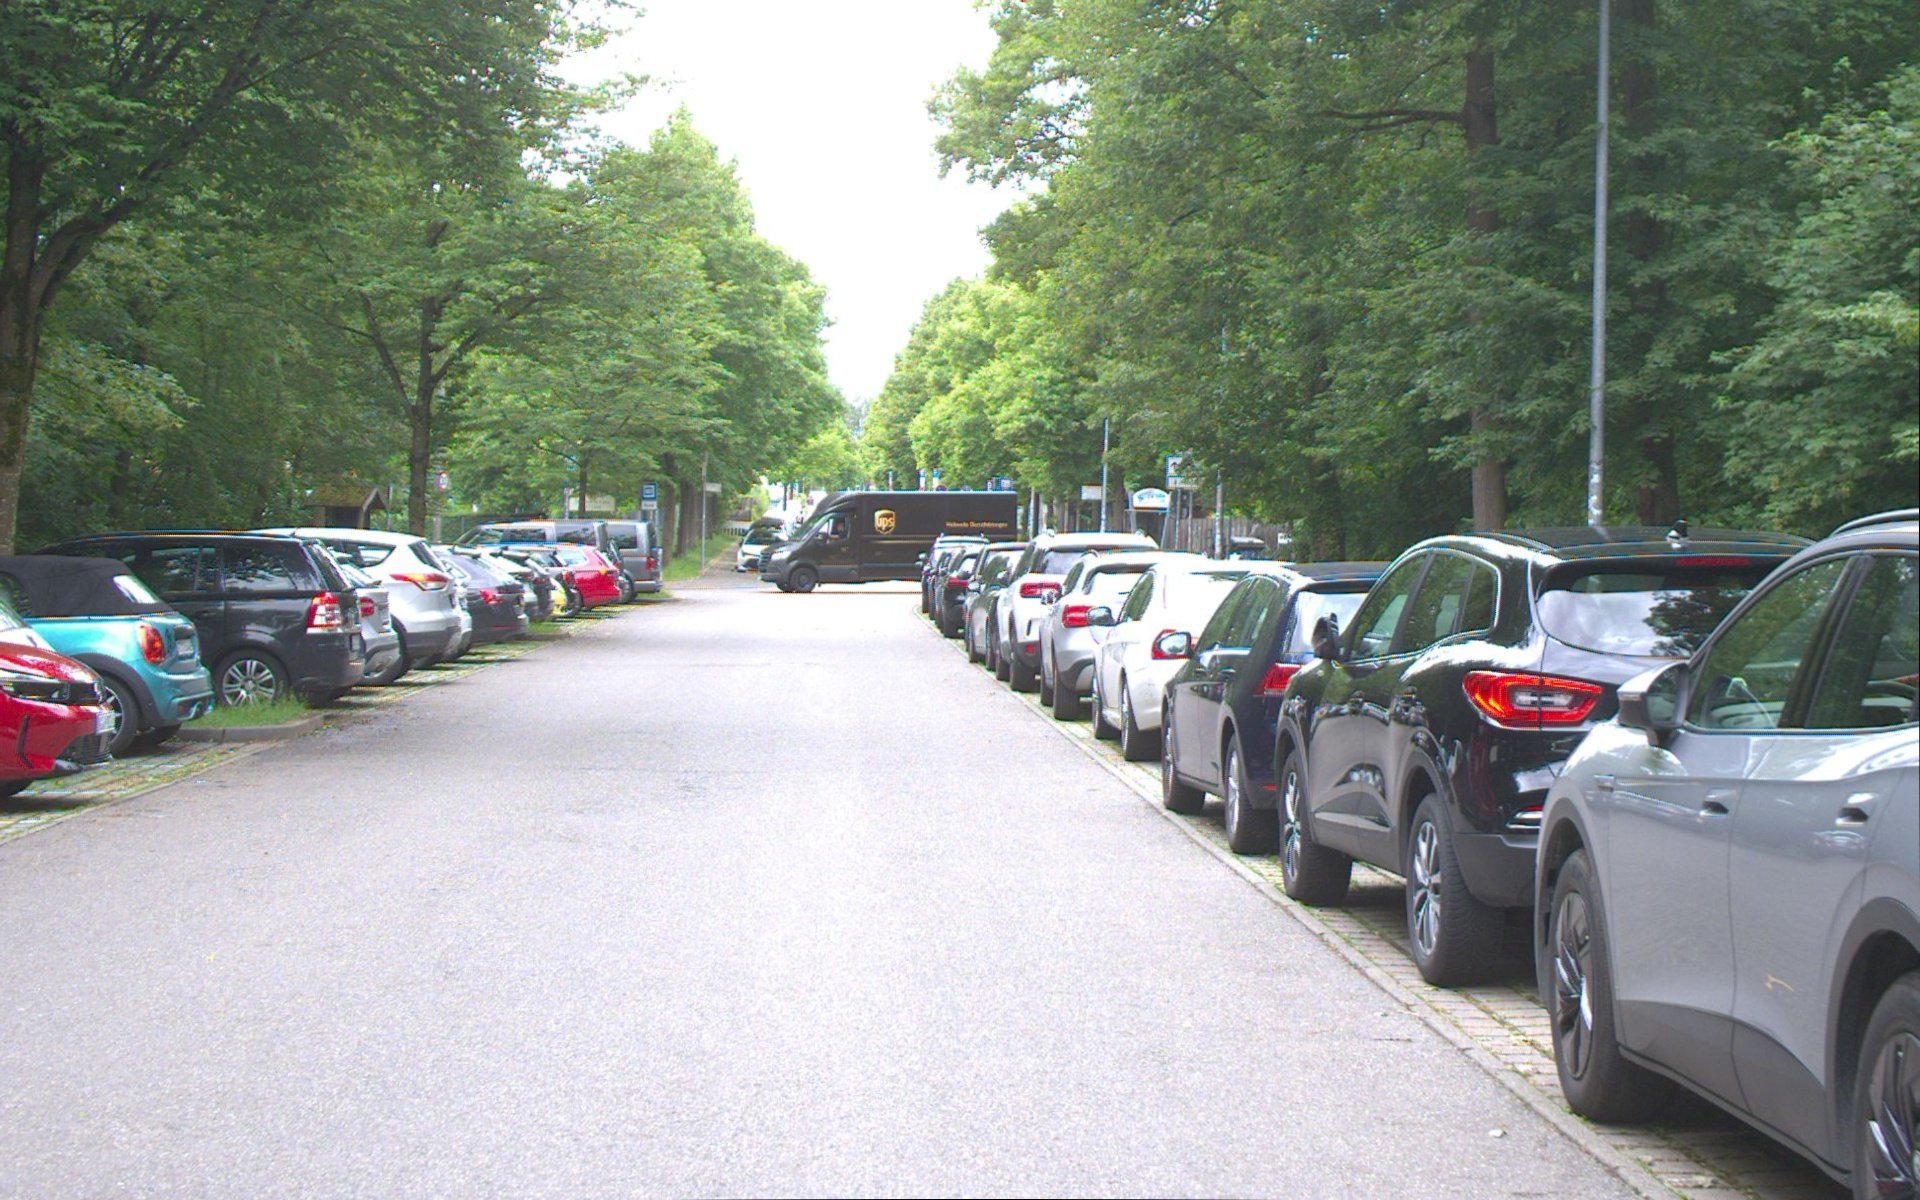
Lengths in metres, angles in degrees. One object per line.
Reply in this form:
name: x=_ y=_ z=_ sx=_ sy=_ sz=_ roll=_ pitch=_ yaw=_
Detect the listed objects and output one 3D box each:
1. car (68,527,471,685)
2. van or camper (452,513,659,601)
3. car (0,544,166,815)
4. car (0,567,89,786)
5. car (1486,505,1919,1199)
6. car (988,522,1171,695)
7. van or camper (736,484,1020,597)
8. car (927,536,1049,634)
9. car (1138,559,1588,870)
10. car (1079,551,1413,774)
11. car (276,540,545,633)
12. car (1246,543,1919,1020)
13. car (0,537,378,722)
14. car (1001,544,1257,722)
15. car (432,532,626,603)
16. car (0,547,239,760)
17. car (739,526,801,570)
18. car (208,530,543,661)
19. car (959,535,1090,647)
car: x=-7.385 y=0.046 z=37.021 sx=3.987 sy=1.634 sz=1.734 roll=0 pitch=1 yaw=0
van or camper: x=-9.356 y=-1.002 z=79.418 sx=4.472 sy=1.861 sz=1.920 roll=0 pitch=4 yaw=-16
car: x=-6.796 y=0.408 z=19.762 sx=3.987 sy=1.469 sz=2.115 roll=0 pitch=1 yaw=-1
car: x=-7.854 y=0.466 z=22.637 sx=3.747 sy=1.364 sz=1.936 roll=0 pitch=1 yaw=0
car: x=2.596 y=0.579 z=7.675 sx=1.978 sy=1.532 sz=4.622 roll=1 pitch=1 yaw=-2
car: x=1.227 y=0.045 z=36.724 sx=1.710 sy=1.722 sz=4.000 roll=1 pitch=1 yaw=-1
van or camper: x=-2.268 y=-1.646 z=94.512 sx=7.321 sy=2.879 sz=2.651 roll=0 pitch=4 yaw=-16
car: x=0.424 y=-0.274 z=56.455 sx=1.921 sy=1.515 sz=3.887 roll=1 pitch=1 yaw=0
car: x=2.033 y=0.529 z=18.372 sx=1.666 sy=1.439 sz=3.815 roll=1 pitch=1 yaw=-4
car: x=2.012 y=0.395 z=25.332 sx=1.937 sy=1.470 sz=3.993 roll=1 pitch=1 yaw=-3
car: x=-8.379 y=-0.214 z=52.610 sx=3.986 sy=1.377 sz=2.001 roll=0 pitch=1 yaw=-8
car: x=2.431 y=0.565 z=13.312 sx=1.978 sy=1.532 sz=4.167 roll=1 pitch=1 yaw=-4
car: x=-7.101 y=0.228 z=29.694 sx=3.832 sy=1.531 sz=1.871 roll=0 pitch=1 yaw=0
car: x=1.467 y=0.255 z=31.197 sx=1.721 sy=1.489 sz=3.775 roll=1 pitch=1 yaw=-6
car: x=-8.438 y=-0.631 z=67.171 sx=3.576 sy=1.356 sz=1.829 roll=0 pitch=1 yaw=-13
car: x=-7.396 y=0.350 z=24.850 sx=3.987 sy=1.469 sz=1.847 roll=0 pitch=1 yaw=0
car: x=-6.004 y=-1.646 z=108.750 sx=1.739 sy=1.158 sz=3.411 roll=2 pitch=4 yaw=0
car: x=-7.507 y=-0.070 z=44.442 sx=3.987 sy=1.634 sz=2.009 roll=0 pitch=1 yaw=0
car: x=0.884 y=-0.159 z=49.241 sx=1.710 sy=1.504 sz=4.000 roll=1 pitch=1 yaw=-1
